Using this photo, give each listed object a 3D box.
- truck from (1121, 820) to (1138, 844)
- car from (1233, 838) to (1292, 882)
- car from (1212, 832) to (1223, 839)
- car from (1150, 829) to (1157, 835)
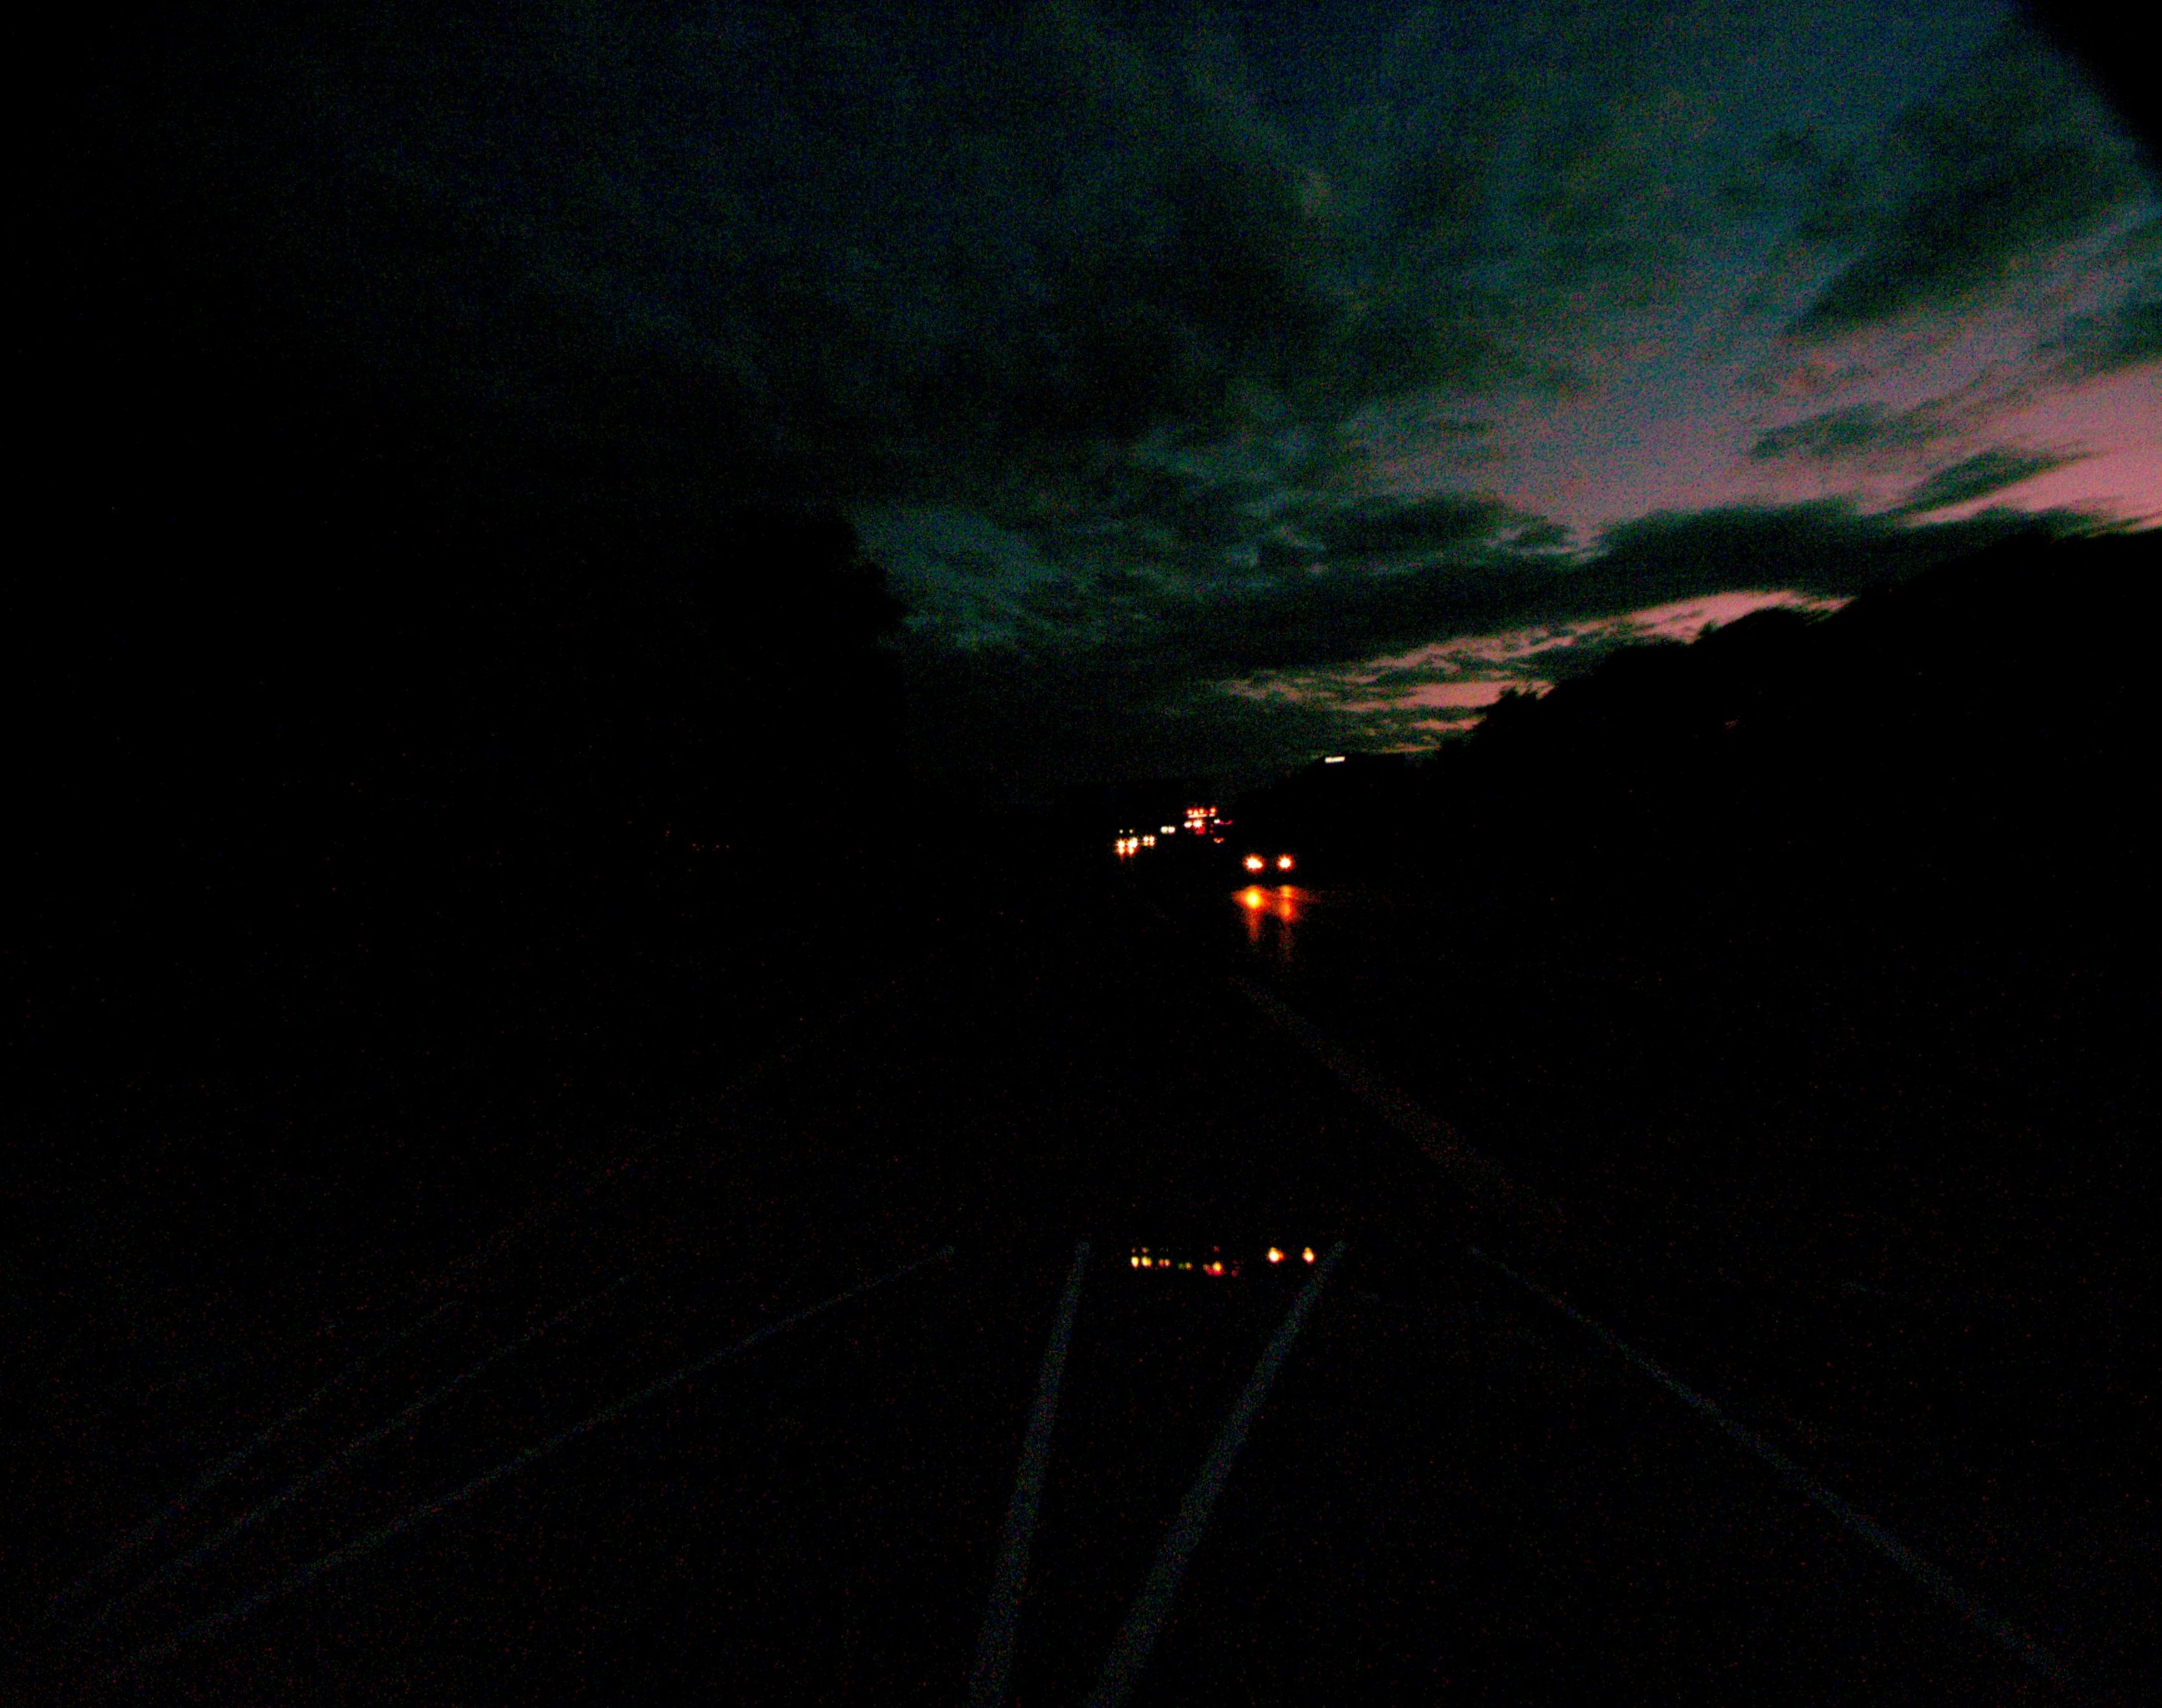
[{"bbox_3d":[9.691,-4.631,153.537,3.026,4.374,11.610,-2,3,3],"label":"truck"},{"bbox_3d":[7.357,0.204,31.134,1.717,1.472,3.999,-2,3,4],"label":"car"},{"bbox_3d":[30.417,-4.070,169.493,1.998,1.411,4.151,-2,2,3],"label":"car"},{"bbox_3d":[19.686,-5.963,205.992,1.653,1.655,3.773,-2,3,3],"label":"car"}]
